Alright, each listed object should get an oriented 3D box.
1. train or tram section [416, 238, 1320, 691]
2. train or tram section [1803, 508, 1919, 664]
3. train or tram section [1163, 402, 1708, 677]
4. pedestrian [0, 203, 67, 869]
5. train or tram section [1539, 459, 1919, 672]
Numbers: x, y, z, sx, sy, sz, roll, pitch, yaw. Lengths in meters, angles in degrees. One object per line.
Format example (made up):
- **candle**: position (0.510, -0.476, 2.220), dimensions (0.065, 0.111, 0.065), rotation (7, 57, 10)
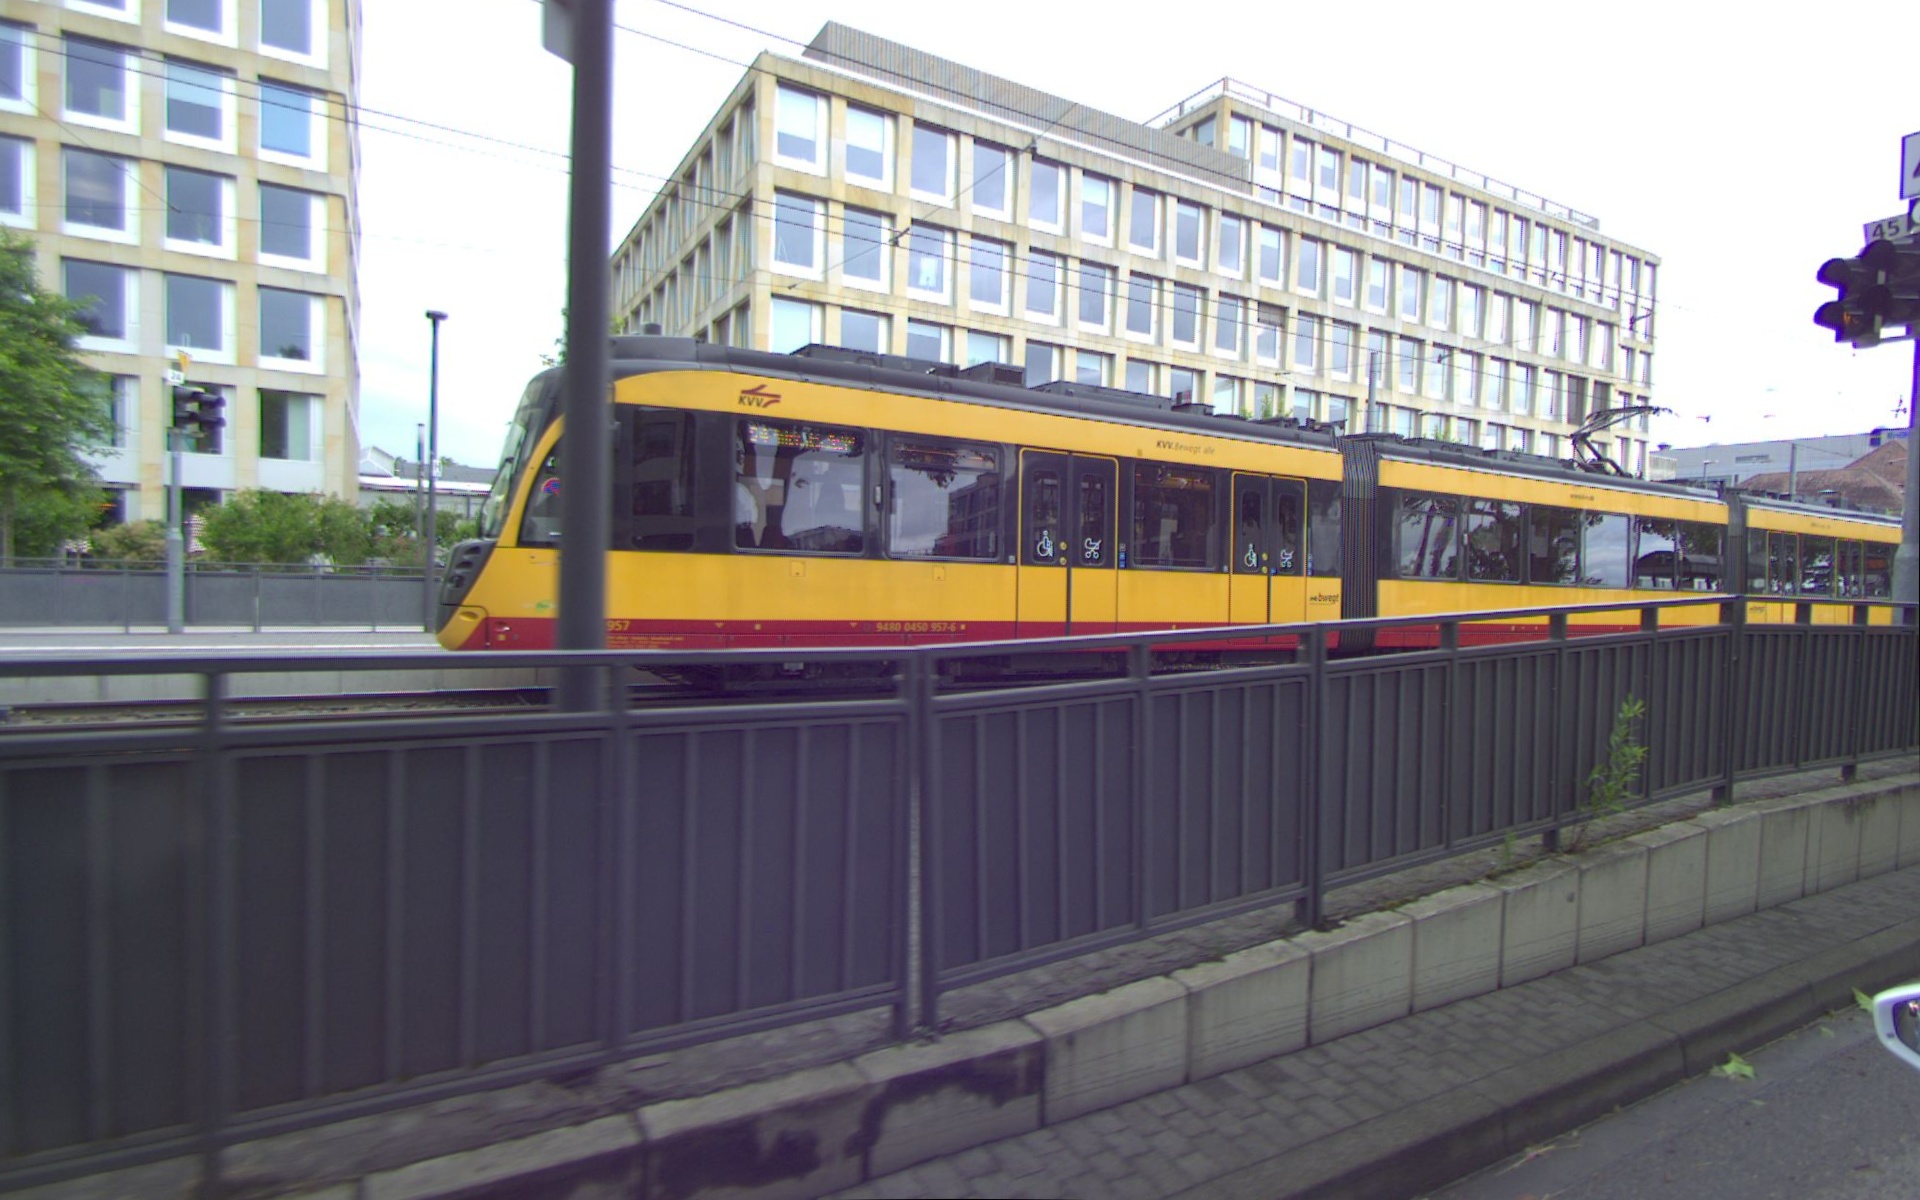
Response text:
- **train or tram section**: position (-0.580, -1.074, 12.904), dimensions (11.177, 3.913, 3.222), rotation (2, 1, -30)
- **train or tram section**: position (31.893, -0.233, 31.726), dimensions (14.559, 4.235, 3.165), rotation (2, 1, -30)
- **train or tram section**: position (9.120, -0.756, 18.480), dimensions (11.177, 3.913, 3.148), rotation (2, 1, -30)
- **pedestrian**: position (-3.356, -0.191, 2.968), dimensions (0.830, 2.041, 1.053), rotation (1, 1, -29)
- **train or tram section**: position (19.808, -0.550, 24.728), dimensions (13.459, 4.235, 3.165), rotation (2, 1, -30)
